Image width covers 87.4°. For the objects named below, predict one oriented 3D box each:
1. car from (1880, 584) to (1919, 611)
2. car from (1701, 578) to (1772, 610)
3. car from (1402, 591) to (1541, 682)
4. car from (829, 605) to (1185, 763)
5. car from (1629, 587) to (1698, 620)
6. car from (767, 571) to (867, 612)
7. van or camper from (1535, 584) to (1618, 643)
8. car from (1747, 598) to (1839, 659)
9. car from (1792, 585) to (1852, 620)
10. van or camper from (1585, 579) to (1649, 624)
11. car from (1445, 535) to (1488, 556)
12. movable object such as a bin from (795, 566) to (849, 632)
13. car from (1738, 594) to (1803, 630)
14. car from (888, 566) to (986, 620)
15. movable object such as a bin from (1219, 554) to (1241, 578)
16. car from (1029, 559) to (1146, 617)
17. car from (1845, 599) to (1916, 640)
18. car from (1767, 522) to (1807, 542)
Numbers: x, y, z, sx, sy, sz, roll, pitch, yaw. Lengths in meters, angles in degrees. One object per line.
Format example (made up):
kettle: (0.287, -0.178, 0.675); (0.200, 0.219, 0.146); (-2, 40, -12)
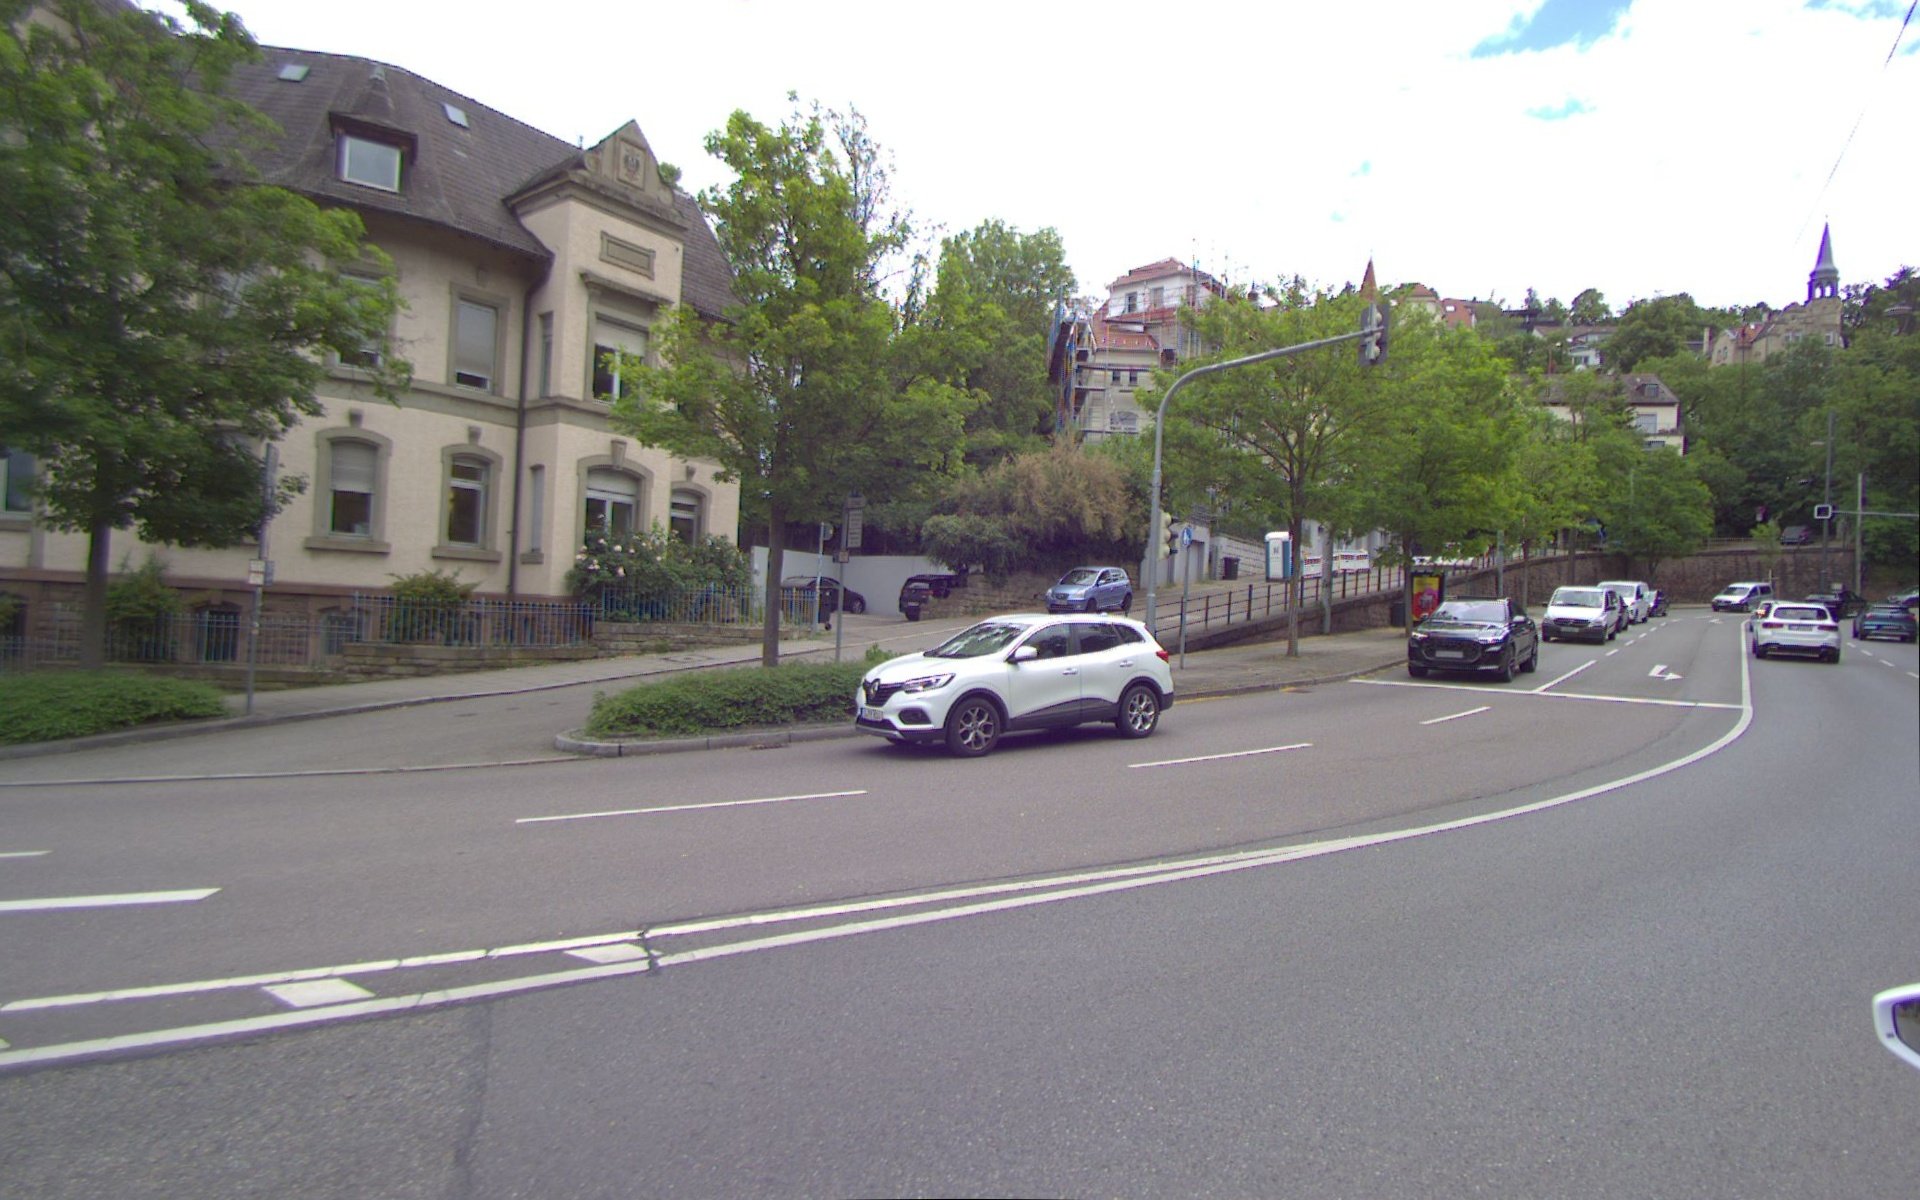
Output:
car: (65.572, -0.172, 68.846); (4.220, 1.717, 1.942); (1, 4, -20)
car: (50.082, -0.358, 64.767); (4.232, 1.823, 1.937); (2, 3, -28)
car: (11.469, 0.754, 22.347); (1.872, 1.815, 4.739); (-1, -1, 38)
car: (0.691, 0.931, 12.868); (4.333, 1.676, 1.883); (0, -1, -36)
car: (40.270, 0.172, 57.456); (4.290, 1.640, 1.978); (-1, 5, -38)
car: (-5.813, -0.303, 41.103); (1.813, 1.584, 3.799); (-1, -1, 40)
van or camper: (22.019, 0.417, 35.784); (1.968, 1.921, 5.435); (2, 2, 37)
car: (24.605, 0.807, 29.799); (1.853, 1.674, 4.325); (0, -1, 37)
car: (52.024, 0.166, 60.604); (3.968, 2.040, 2.171); (0, -1, -41)
van or camper: (32.623, 0.042, 49.811); (1.970, 2.041, 5.535); (2, 2, 40)
car: (35.883, -3.824, 71.165); (3.570, 1.296, 1.538); (0, 0, -41)
movable object such as a bin: (-3.850, -0.034, 27.930); (0.987, 1.707, 1.206); (0, 5, -36)
car: (37.597, 0.519, 46.668); (2.220, 1.539, 4.289); (1, 1, 38)
car: (-0.756, -0.194, 36.219); (1.962, 1.795, 3.997); (-1, -1, 25)
movable object such as a bin: (12.721, -1.599, 47.270); (0.794, 1.056, 0.836); (-1, -1, 33)
car: (4.276, -0.464, 33.378); (1.971, 1.595, 3.977); (4, 7, 42)
car: (38.979, 0.819, 42.609); (1.837, 1.653, 3.943); (-2, -1, 37)
car: (68.514, -5.646, 83.173); (3.969, 1.506, 1.975); (-5, 5, -42)
